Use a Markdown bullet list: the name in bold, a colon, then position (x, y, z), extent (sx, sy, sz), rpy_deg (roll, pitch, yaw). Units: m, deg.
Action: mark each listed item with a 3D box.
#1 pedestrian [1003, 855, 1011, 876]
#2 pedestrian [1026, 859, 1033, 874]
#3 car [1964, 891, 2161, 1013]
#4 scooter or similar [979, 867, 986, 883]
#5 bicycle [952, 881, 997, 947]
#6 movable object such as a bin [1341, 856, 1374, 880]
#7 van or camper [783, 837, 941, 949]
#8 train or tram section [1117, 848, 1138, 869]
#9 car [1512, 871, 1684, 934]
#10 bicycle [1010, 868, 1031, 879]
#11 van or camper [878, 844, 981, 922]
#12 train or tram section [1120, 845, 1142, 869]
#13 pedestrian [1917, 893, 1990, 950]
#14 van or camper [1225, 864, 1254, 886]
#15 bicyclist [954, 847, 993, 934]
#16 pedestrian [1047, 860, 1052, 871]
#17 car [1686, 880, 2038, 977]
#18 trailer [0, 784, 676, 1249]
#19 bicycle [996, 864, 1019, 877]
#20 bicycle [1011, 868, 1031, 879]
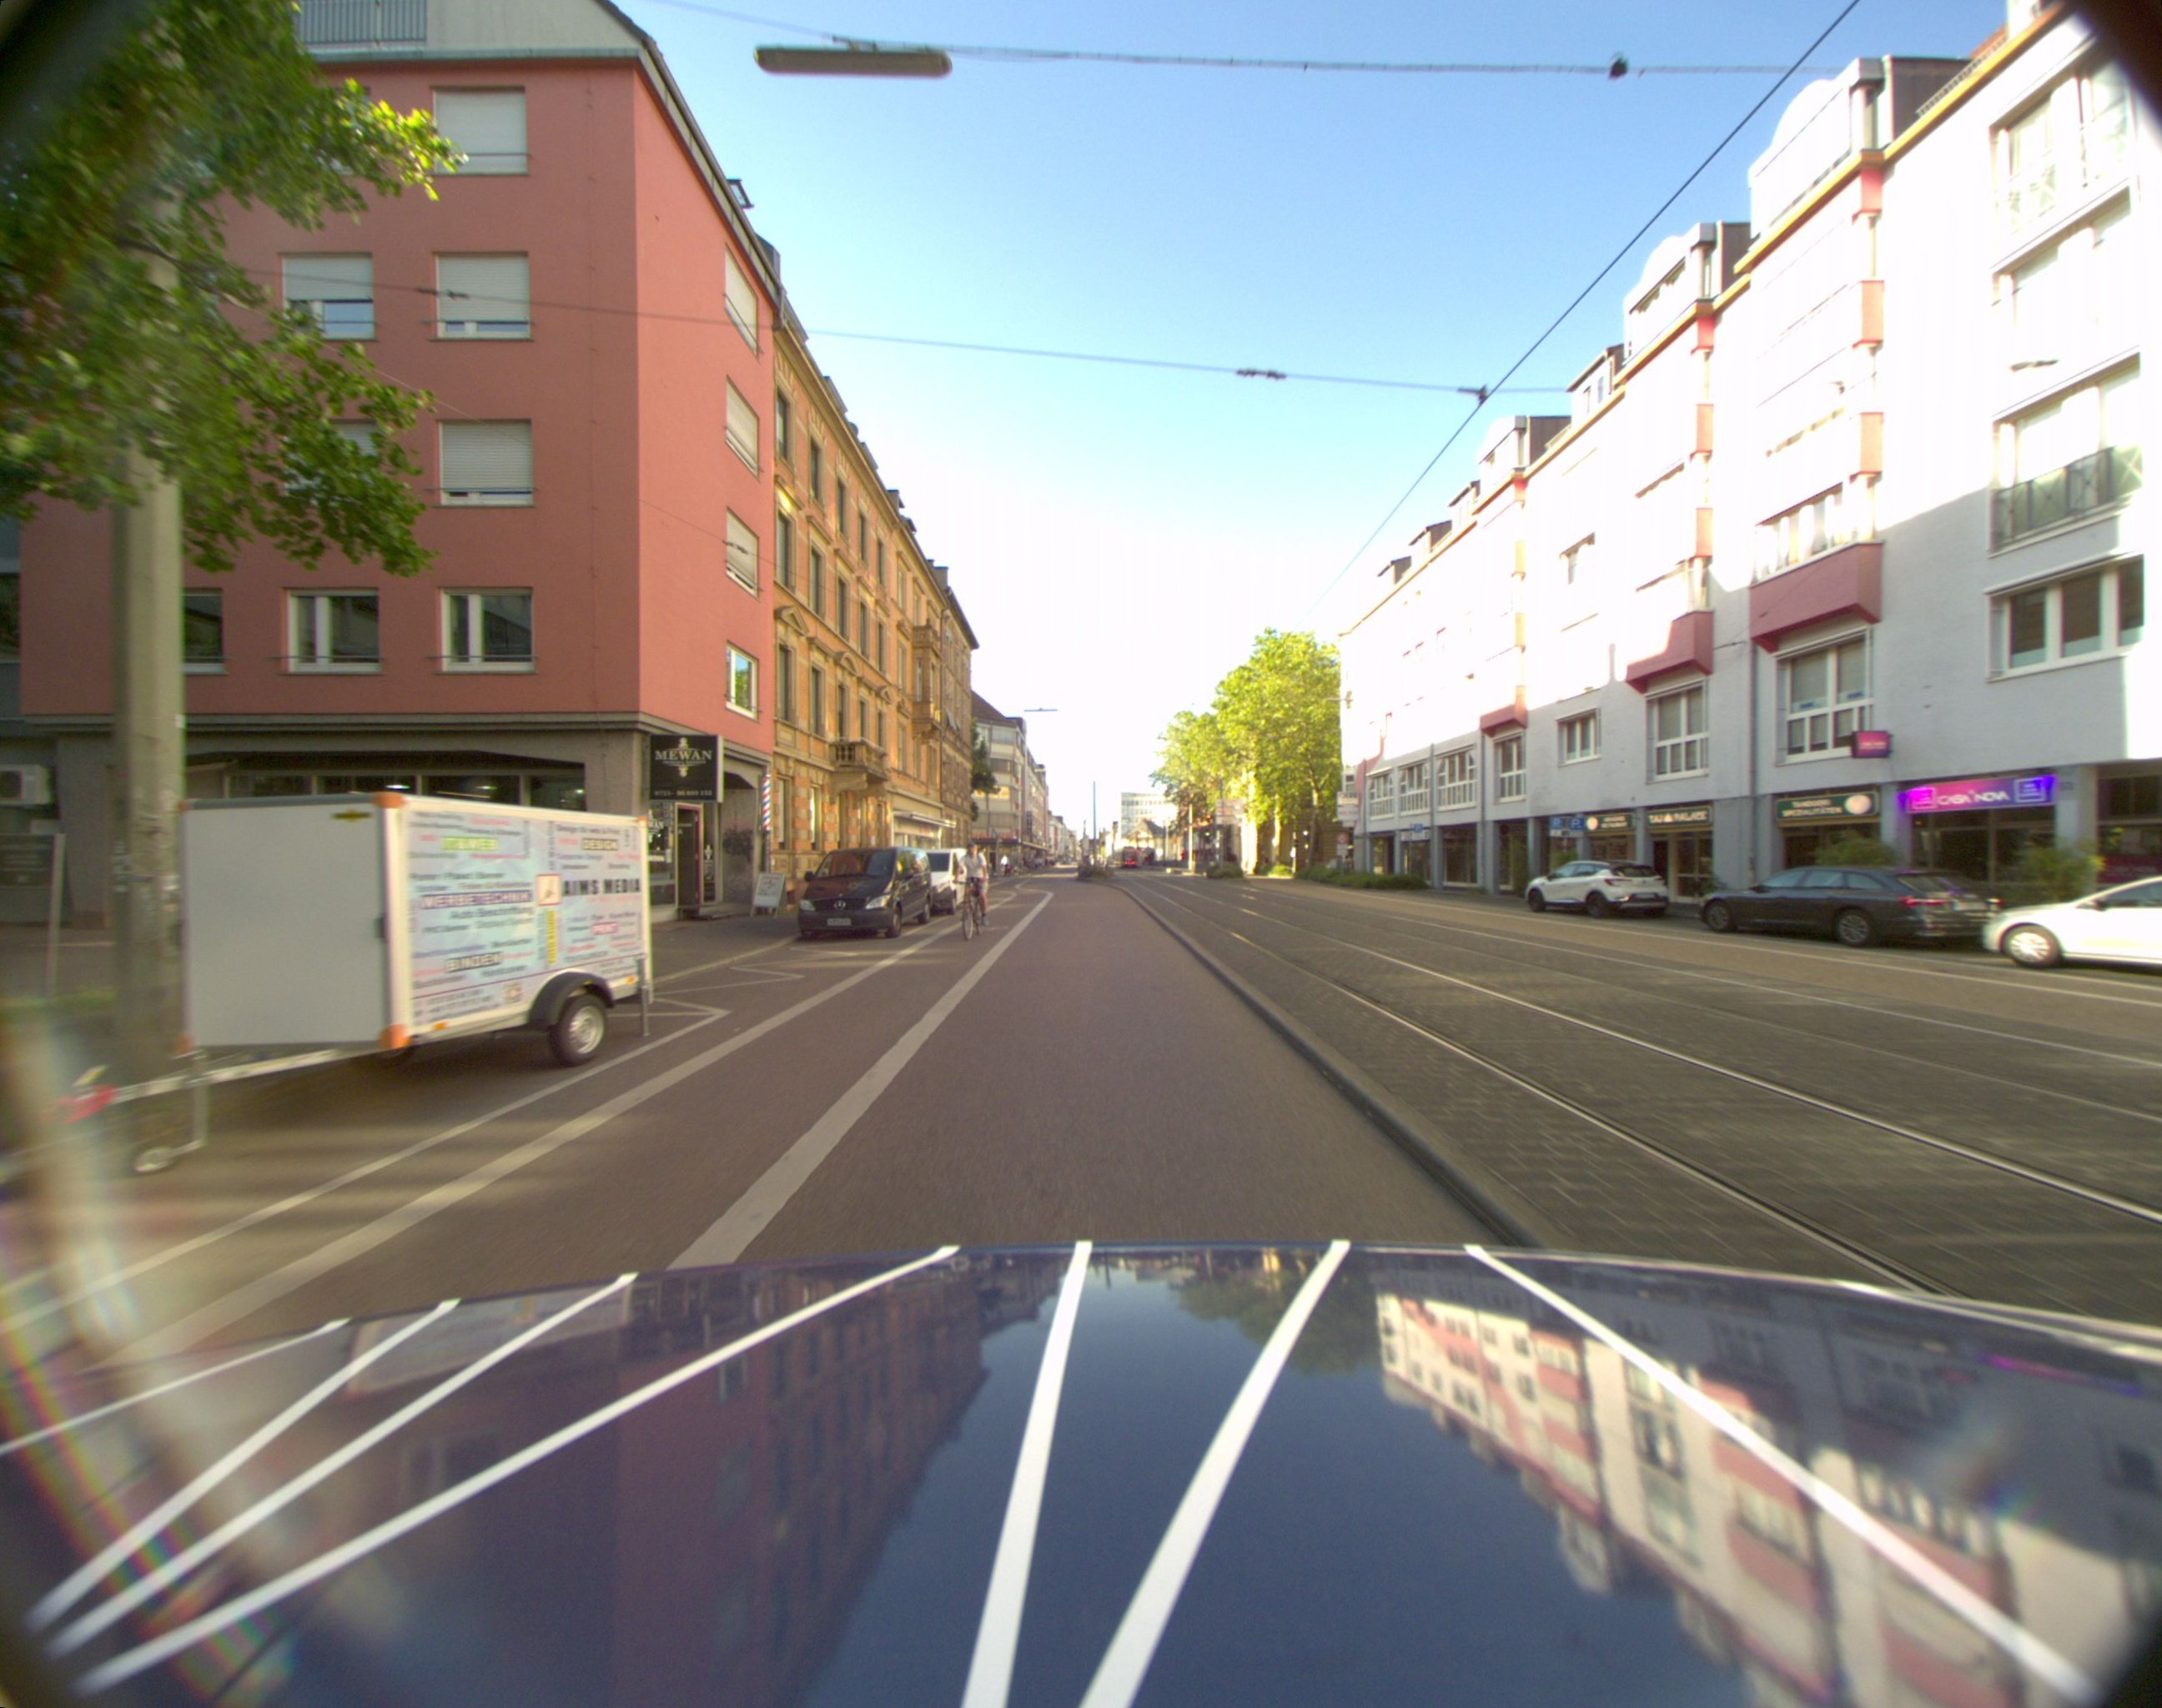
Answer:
- **pedestrian**: position (-6.398, 1.004, 65.476), extent (0.594, 1.811, 0.942), rpy_deg (-1, 0, 0)
- **pedestrian**: position (-6.033, 1.444, 88.588), extent (0.746, 1.717, 0.815), rpy_deg (-1, 0, 1)
- **car**: position (14.691, 1.300, 9.752), extent (1.756, 1.466, 4.207), rpy_deg (0, 0, -2)
- **scooter or similar**: position (-7.919, 1.680, 61.067), extent (0.392, 1.281, 1.520), rpy_deg (1, -1, -15)
- **bicycle**: position (-2.055, 1.127, 14.881), extent (0.649, 1.132, 2.095), rpy_deg (-1, 0, -2)
- **movable object such as a bin**: position (23.824, 1.190, 65.466), extent (2.643, 2.002, 1.177), rpy_deg (0, 0, 24)
- **van or camper**: position (-4.552, 0.745, 16.785), extent (1.976, 2.033, 5.331), rpy_deg (-1, 0, -1)
- **train or tram section**: position (8.439, 0.852, 139.096), extent (2.981, 3.623, 13.946), rpy_deg (-1, -1, 1)
- **car**: position (14.823, 1.322, 22.125), extent (1.922, 1.604, 4.369), rpy_deg (0, 0, -2)
- **bicycle**: position (-6.035, 1.956, 75.876), extent (1.951, 1.100, 0.564), rpy_deg (1, 0, -1)
- **van or camper**: position (-4.360, 0.756, 22.795), extent (1.936, 2.025, 5.475), rpy_deg (-1, 0, 0)
- **train or tram section**: position (8.016, 0.630, 123.946), extent (2.981, 3.622, 16.490), rpy_deg (-1, -1, 2)
- **pedestrian**: position (19.023, 1.461, 16.588), extent (0.673, 1.180, 0.780), rpy_deg (1, 0, -1)
- **van or camper**: position (15.135, 2.001, 72.872), extent (1.998, 1.929, 4.835), rpy_deg (3, 0, 3)
- **bicyclist**: position (-2.083, 0.694, 14.867), extent (0.657, 1.646, 0.927), rpy_deg (0, 0, -2)
- **pedestrian**: position (-4.686, 1.708, 113.448), extent (0.669, 1.718, 0.810), rpy_deg (3, 0, 0)
- **car**: position (14.688, 1.308, 14.829), extent (1.906, 1.449, 4.826), rpy_deg (0, 0, 0)
- **trailer**: position (-4.813, 0.762, 5.392), extent (1.665, 2.104, 3.843), rpy_deg (-1, 0, 2)
- **bicycle**: position (-6.354, 1.411, 65.447), extent (1.943, 1.087, 0.599), rpy_deg (0, 0, -1)
- **bicycle**: position (-6.060, 1.959, 76.524), extent (1.951, 1.100, 0.564), rpy_deg (1, 0, -1)
